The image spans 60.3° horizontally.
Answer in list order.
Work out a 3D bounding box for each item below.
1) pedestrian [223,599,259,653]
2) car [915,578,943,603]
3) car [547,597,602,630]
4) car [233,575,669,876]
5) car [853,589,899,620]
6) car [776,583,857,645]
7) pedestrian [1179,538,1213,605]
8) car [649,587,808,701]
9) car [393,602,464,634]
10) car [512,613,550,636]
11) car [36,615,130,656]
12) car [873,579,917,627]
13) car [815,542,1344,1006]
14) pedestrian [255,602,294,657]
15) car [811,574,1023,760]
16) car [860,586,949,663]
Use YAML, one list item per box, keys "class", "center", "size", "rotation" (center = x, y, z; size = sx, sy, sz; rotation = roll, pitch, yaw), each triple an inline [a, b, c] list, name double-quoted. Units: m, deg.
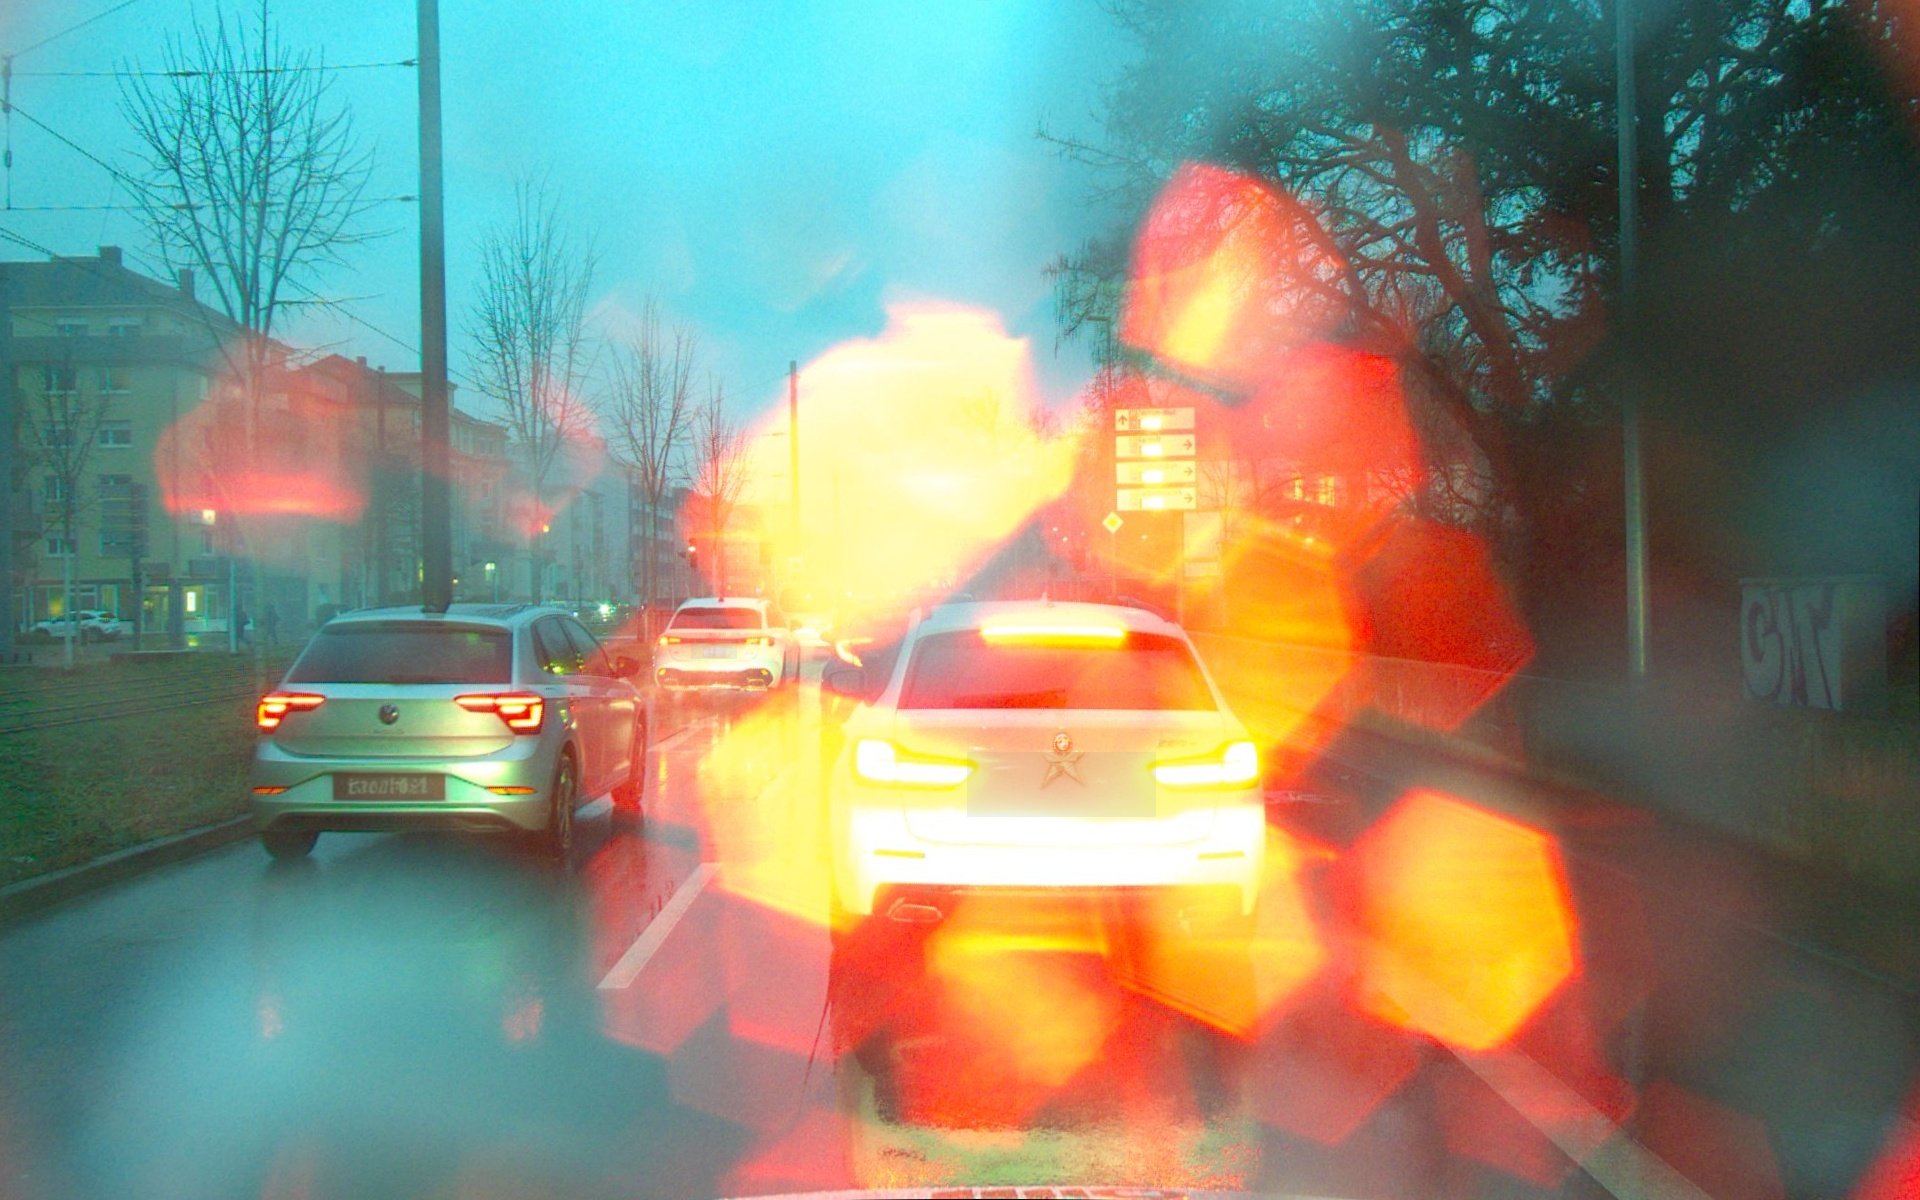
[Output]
- class: "pedestrian"
  center: [-28.342, 1.017, 65.179]
  size: [1.253, 2.049, 1.000]
  rotation: [-1, 0, -25]
- class: "car"
  center: [-1.911, -0.574, 101.896]
  size: [1.702, 1.444, 4.145]
  rotation: [-1, 0, -1]
- class: "car"
  center: [-19.640, 0.669, 84.442]
  size: [1.953, 1.630, 3.998]
  rotation: [1, 0, -2]
- class: "car"
  center: [-2.993, 0.642, 10.595]
  size: [1.659, 1.560, 3.999]
  rotation: [0, 0, -2]
- class: "car"
  center: [-3.649, 0.208, 72.669]
  size: [1.891, 1.311, 3.999]
  rotation: [1, 0, -1]
- class: "car"
  center: [-3.558, 0.326, 41.643]
  size: [1.702, 1.444, 4.393]
  rotation: [-1, 0, -1]
- class: "pedestrian"
  center: [7.349, -0.890, 51.610]
  size: [0.938, 2.049, 1.008]
  rotation: [-1, 0, 4]
- class: "car"
  center: [-3.317, 0.572, 24.502]
  size: [1.762, 1.492, 4.585]
  rotation: [-1, 0, -1]
- class: "car"
  center: [-23.567, 0.794, 73.503]
  size: [1.821, 1.355, 4.314]
  rotation: [1, 0, -1]
- class: "car"
  center: [-25.498, 1.436, 98.398]
  size: [1.659, 1.300, 4.142]
  rotation: [-1, 0, -7]
- class: "car"
  center: [-43.758, 1.767, 82.611]
  size: [3.679, 1.976, 1.838]
  rotation: [1, 0, -9]
- class: "car"
  center: [-2.380, 0.098, 60.076]
  size: [1.476, 1.681, 2.842]
  rotation: [1, 0, -4]
- class: "car"
  center: [0.386, 0.592, 8.260]
  size: [1.825, 1.583, 4.937]
  rotation: [-1, 0, -1]
- class: "pedestrian"
  center: [-26.011, 1.101, 62.801]
  size: [0.938, 2.049, 1.008]
  rotation: [-1, 0, 9]
- class: "car"
  center: [-0.387, 0.566, 15.851]
  size: [1.763, 1.537, 3.894]
  rotation: [-1, 0, -1]
- class: "car"
  center: [-1.094, 0.466, 33.689]
  size: [1.702, 1.444, 3.702]
  rotation: [-1, 0, -1]
